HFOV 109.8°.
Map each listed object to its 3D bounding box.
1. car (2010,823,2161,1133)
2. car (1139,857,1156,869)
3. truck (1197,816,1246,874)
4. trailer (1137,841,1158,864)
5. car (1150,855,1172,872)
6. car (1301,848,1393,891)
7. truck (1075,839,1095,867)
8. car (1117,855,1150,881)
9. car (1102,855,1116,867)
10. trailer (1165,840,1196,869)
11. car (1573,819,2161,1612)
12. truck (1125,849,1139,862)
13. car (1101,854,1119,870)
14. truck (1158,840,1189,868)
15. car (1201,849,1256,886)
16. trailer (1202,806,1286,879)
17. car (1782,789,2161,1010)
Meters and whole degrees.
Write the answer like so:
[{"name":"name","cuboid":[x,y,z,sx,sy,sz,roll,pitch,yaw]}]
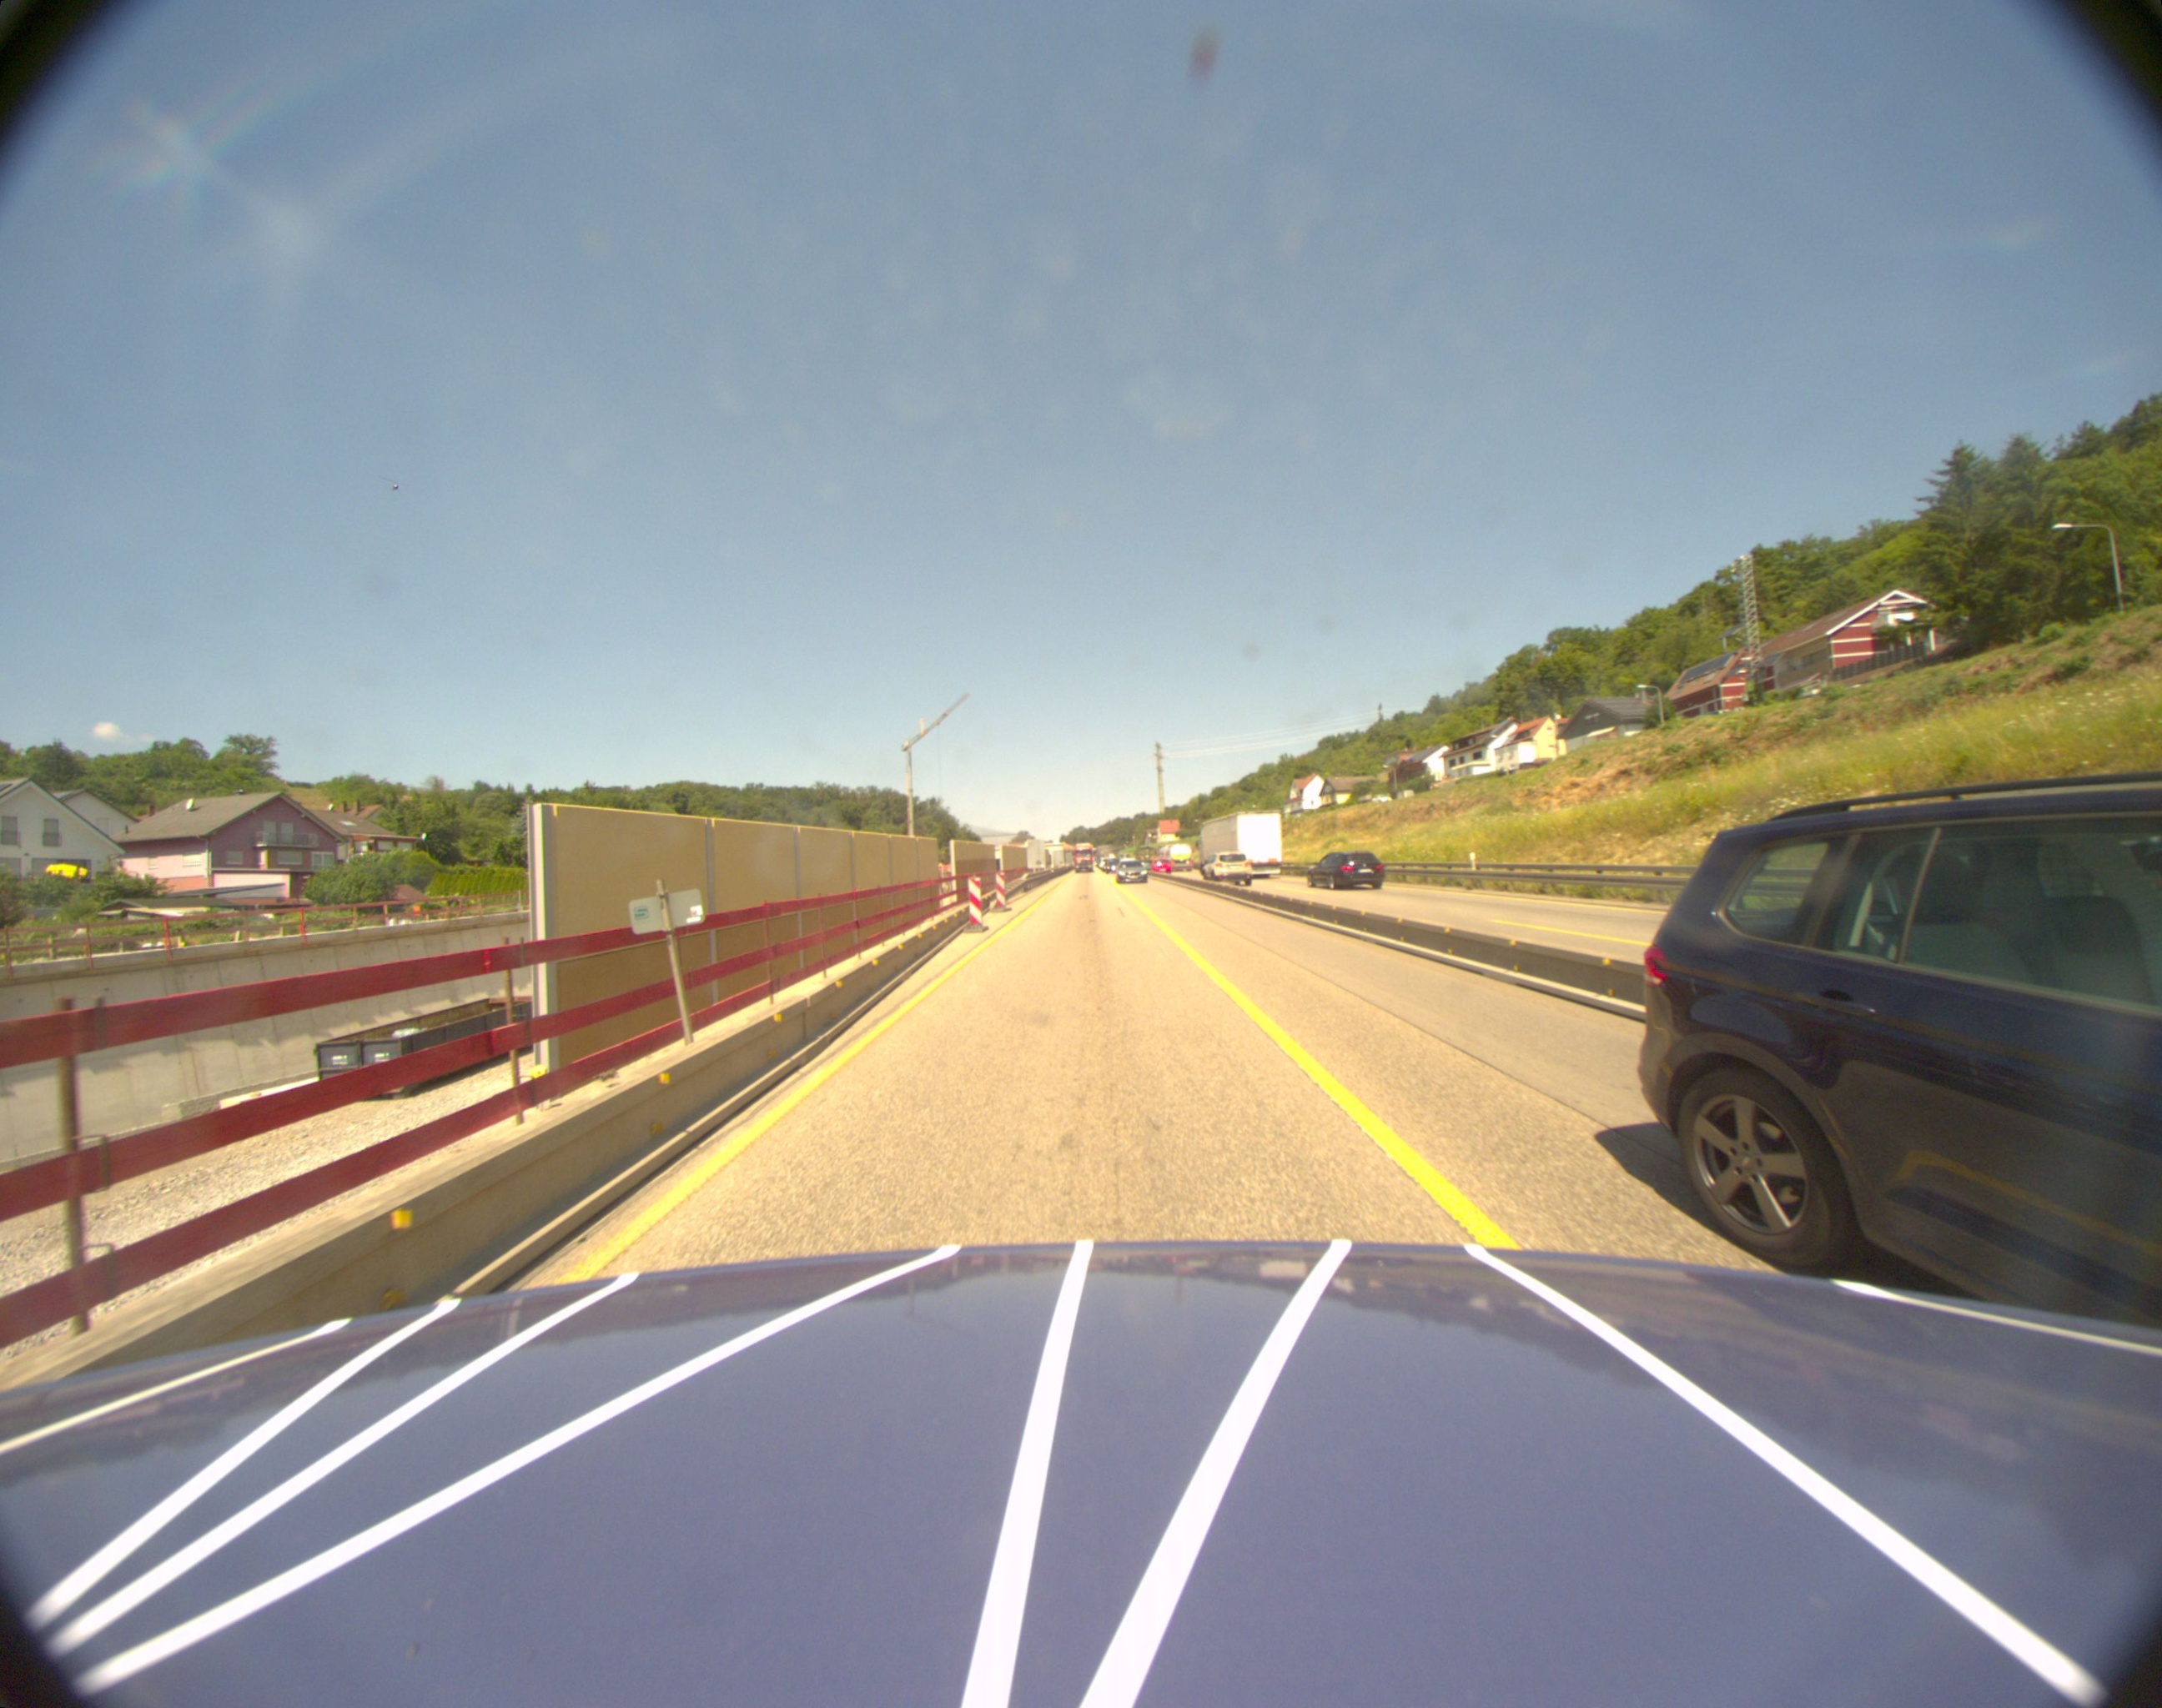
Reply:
[{"name":"car","cuboid":[6.648,0.637,1.996,1.844,1.644,5.371,-1,0,0]},{"name":"car","cuboid":[7.990,1.037,91.922,1.670,1.386,3.905,-2,0,0]},{"name":"truck","cuboid":[10.766,-0.658,58.723,2.752,4.157,5.288,-2,0,1]},{"name":"trailer","cuboid":[11.950,-0.218,137.340,2.920,3.915,10.527,-2,0,1]},{"name":"car","cuboid":[7.355,0.825,70.106,1.674,1.457,4.000,-2,0,1]},{"name":"car","cuboid":[10.428,0.563,30.213,1.998,1.498,4.718,-3,0,0]},{"name":"truck","cuboid":[0.624,-0.040,107.471,2.605,3.704,10.537,-2,-1,1]},{"name":"car","cuboid":[3.187,0.859,46.777,1.780,1.447,4.336,-2,-1,1]},{"name":"car","cuboid":[3.724,0.909,102.360,1.780,1.485,4.336,-2,-1,1]},{"name":"trailer","cuboid":[11.058,0.065,84.920,2.619,2.983,6.370,-2,0,1]},{"name":"car","cuboid":[3.179,0.739,1.203,1.780,1.708,4.653,-2,-1,1]},{"name":"truck","cuboid":[14.128,0.429,211.539,2.769,3.303,15.936,-2,0,0]},{"name":"car","cuboid":[3.160,0.889,83.288,1.780,1.727,4.336,-2,-1,1]},{"name":"truck","cuboid":[11.212,0.047,92.667,2.733,3.124,8.959,-2,0,1]},{"name":"car","cuboid":[7.122,0.621,37.169,1.837,1.656,4.414,-2,0,0]},{"name":"trailer","cuboid":[10.625,-0.661,51.214,2.793,4.157,13.979,-2,0,1]},{"name":"car","cuboid":[10.373,0.380,7.570,2.043,1.915,5.121,-1,0,0]}]
